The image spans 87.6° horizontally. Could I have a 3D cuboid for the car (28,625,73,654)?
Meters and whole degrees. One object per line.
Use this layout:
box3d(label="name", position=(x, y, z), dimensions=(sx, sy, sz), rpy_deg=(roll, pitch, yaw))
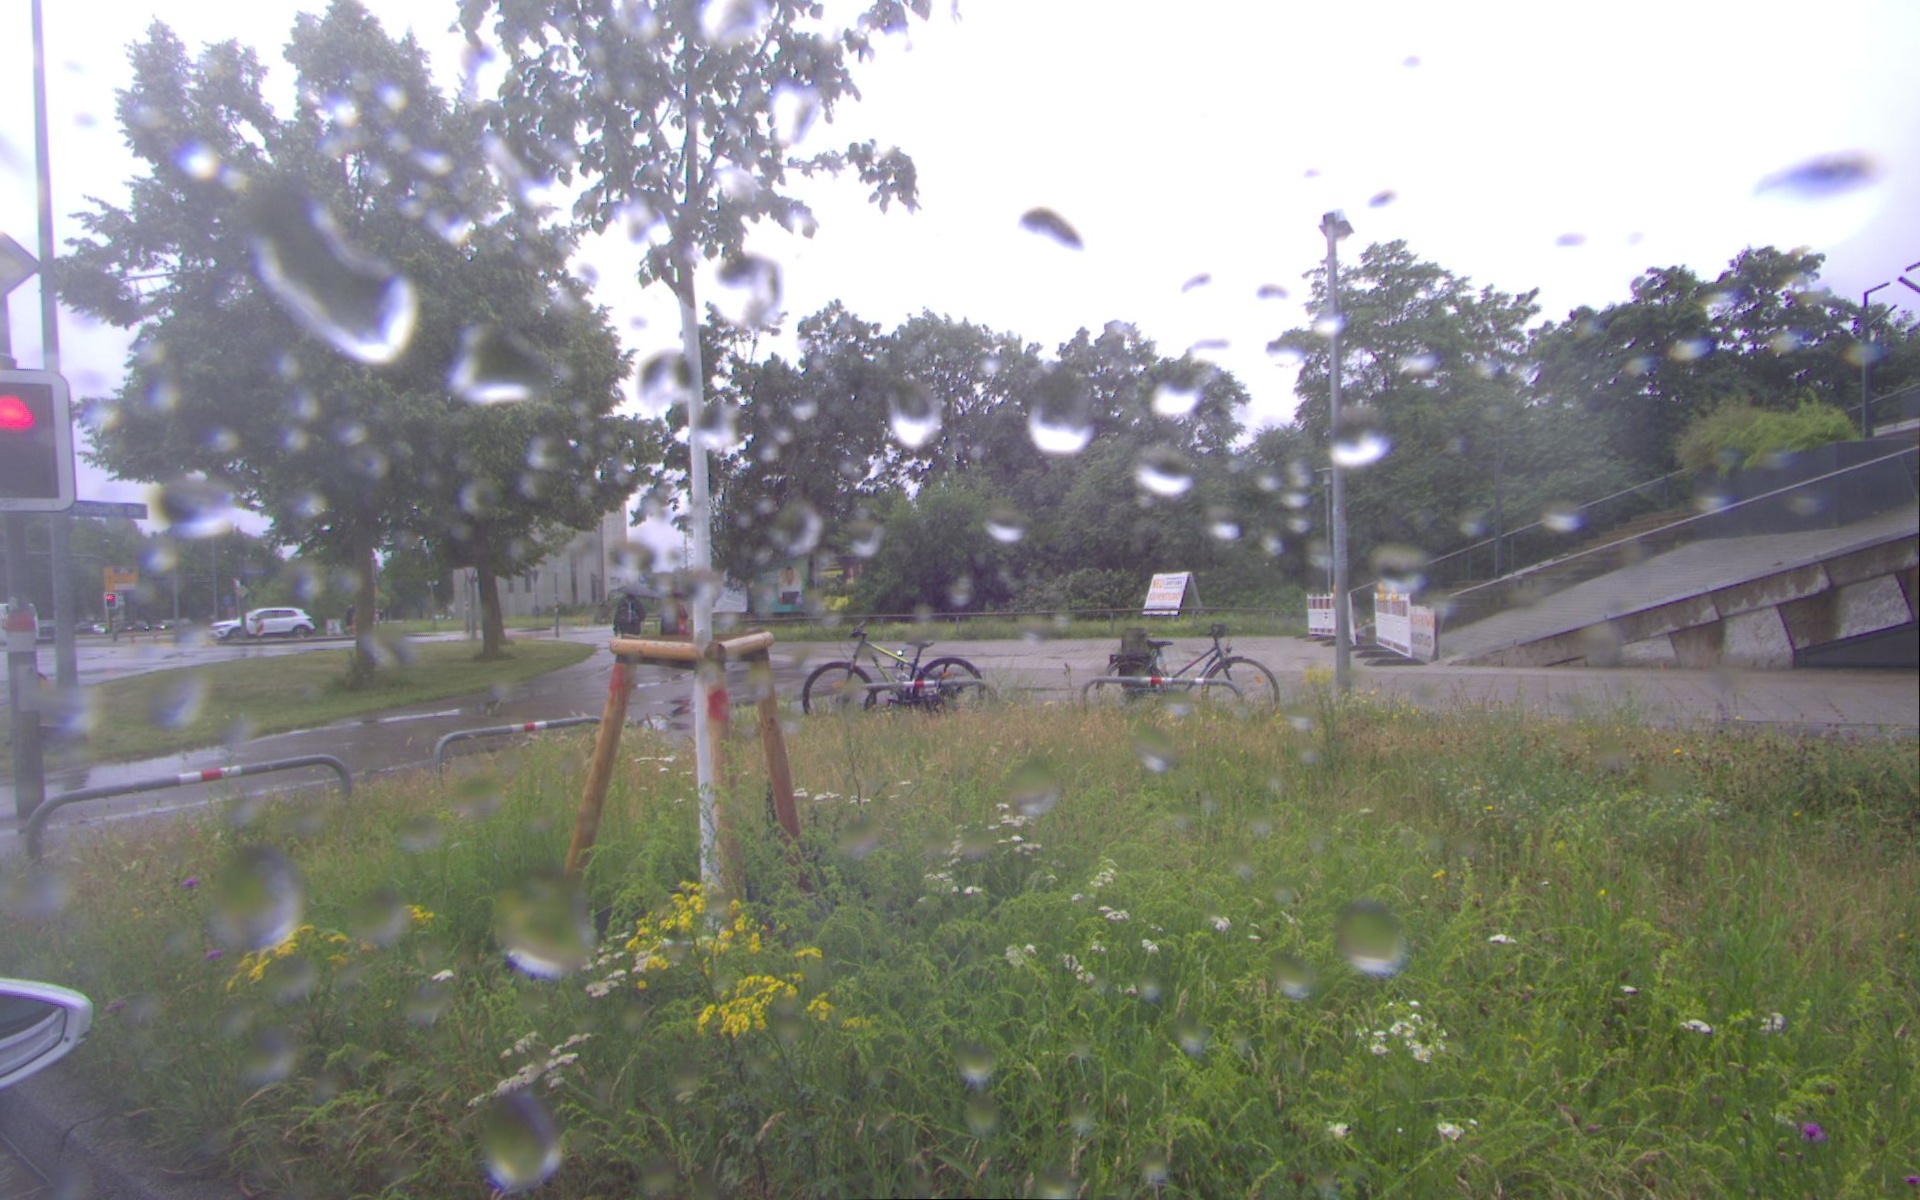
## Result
box3d(label="car", position=(-49.865, 2.150, 54.905), dimensions=(3.947, 1.473, 1.608), rpy_deg=(-1, 0, 45))

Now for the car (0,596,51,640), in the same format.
box3d(label="car", position=(-43.215, 0.824, 43.924), dimensions=(4.683, 1.874, 2.001), rpy_deg=(0, -2, -4))

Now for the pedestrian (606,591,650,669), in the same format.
box3d(label="pedestrian", position=(-6.711, 0.608, 20.280), dimensions=(0.727, 1.542, 0.623), rpy_deg=(0, -1, -5))

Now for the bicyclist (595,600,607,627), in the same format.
box3d(label="bicyclist", position=(-24.410, 0.928, 68.040), dimensions=(0.491, 1.764, 0.586), rpy_deg=(-2, -2, 44))

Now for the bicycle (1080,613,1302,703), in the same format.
box3d(label="bicycle", position=(2.141, 0.544, 9.381), dimensions=(1.972, 0.796, 0.454), rpy_deg=(-1, -2, 16))

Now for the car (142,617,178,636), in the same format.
box3d(label="car", position=(-90.729, 2.990, 113.556), dimensions=(1.966, 2.039, 3.993), rpy_deg=(0, -2, -20))

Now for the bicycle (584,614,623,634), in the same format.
box3d(label="bicycle", position=(-24.263, 1.648, 68.168), dimensions=(0.565, 1.330, 2.489), rpy_deg=(-2, -3, 42))

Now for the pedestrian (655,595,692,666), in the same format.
box3d(label="pedestrian", position=(-6.143, 0.639, 21.477), dimensions=(0.562, 1.480, 0.682), rpy_deg=(-2, 1, -3))

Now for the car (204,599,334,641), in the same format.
box3d(label="car", position=(-32.801, 0.916, 47.651), dimensions=(1.976, 1.876, 4.738), rpy_deg=(0, 0, 40))

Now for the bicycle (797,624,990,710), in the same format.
box3d(label="bicycle", position=(-0.637, 0.639, 9.694), dimensions=(1.823, 0.797, 0.380), rpy_deg=(0, -2, -2))

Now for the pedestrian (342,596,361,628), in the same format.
box3d(label="pedestrian", position=(-36.322, 0.708, 59.763), dimensions=(0.660, 1.892, 0.813), rpy_deg=(-2, -2, 40))
